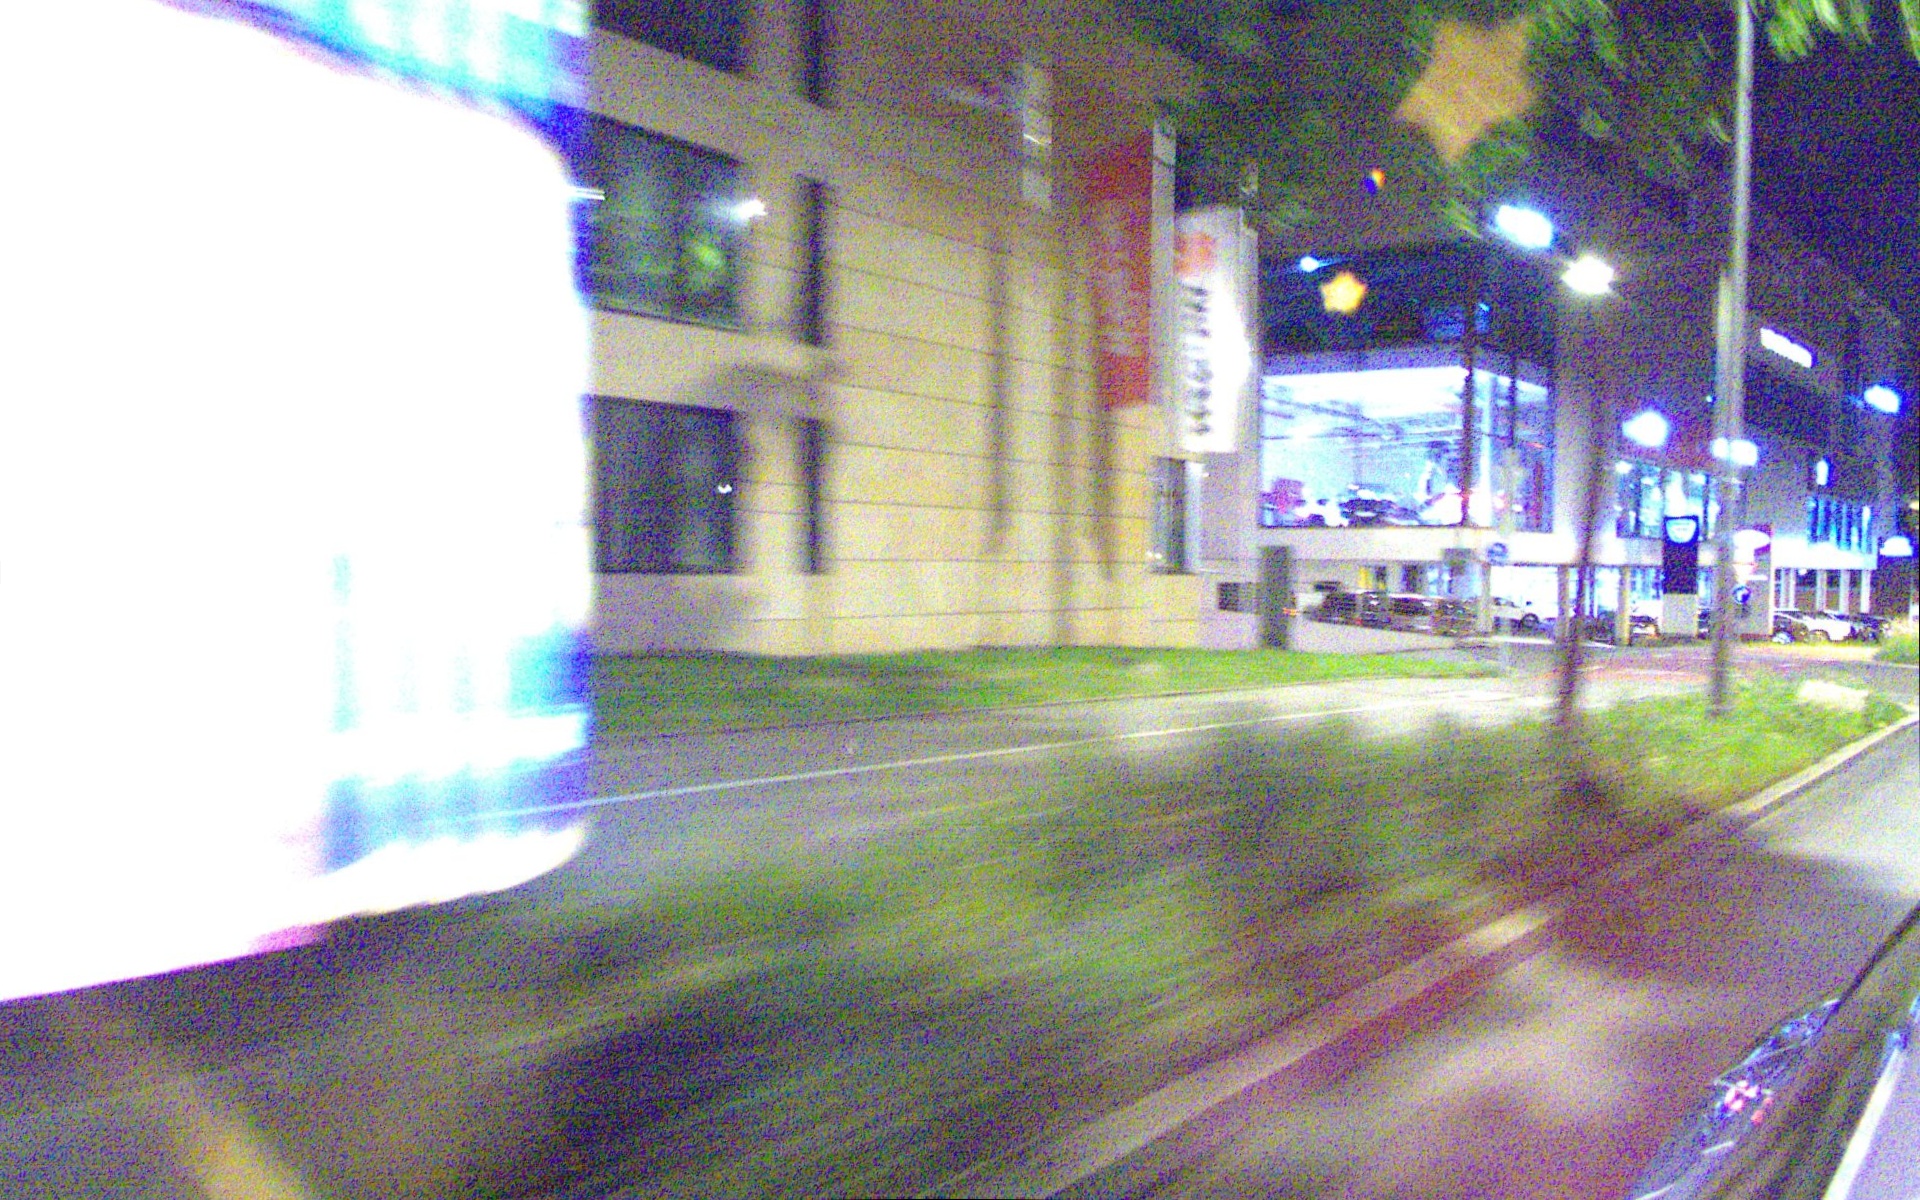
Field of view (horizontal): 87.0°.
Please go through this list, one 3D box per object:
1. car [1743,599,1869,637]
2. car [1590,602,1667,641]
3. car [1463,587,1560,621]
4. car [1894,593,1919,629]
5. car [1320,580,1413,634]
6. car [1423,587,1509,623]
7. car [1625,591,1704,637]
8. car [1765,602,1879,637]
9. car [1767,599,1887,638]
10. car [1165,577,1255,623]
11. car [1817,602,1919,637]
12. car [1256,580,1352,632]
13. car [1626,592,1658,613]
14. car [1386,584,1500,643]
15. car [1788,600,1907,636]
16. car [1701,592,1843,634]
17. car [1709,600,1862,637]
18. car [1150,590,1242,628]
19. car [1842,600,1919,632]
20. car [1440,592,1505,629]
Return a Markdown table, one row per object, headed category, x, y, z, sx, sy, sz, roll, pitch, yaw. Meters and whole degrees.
| category | x | y | z | sx | sy | sz | roll | pitch | yaw |
| --- | --- | --- | --- | --- | --- | --- | --- | --- | --- |
| car | 36.417 | 0.754 | 43.715 | 3.976 | 1.442 | 1.884 | 2 | 0 | 36 |
| car | 29.246 | 0.916 | 44.410 | 1.755 | 1.426 | 4.314 | 2 | 2 | 19 |
| car | 29.431 | 0.222 | 54.157 | 4.262 | 1.675 | 1.649 | 1 | 0 | 17 |
| car | 72.660 | 1.107 | 73.947 | 6.008 | 2.559 | 2.253 | 9 | 4 | 37 |
| car | 16.174 | 0.283 | 40.180 | 4.335 | 2.019 | 1.813 | 1 | 0 | -44 |
| car | 25.730 | 0.214 | 51.540 | 1.716 | 1.604 | 3.491 | -1 | 4 | -36 |
| car | 32.619 | 0.602 | 46.954 | 1.564 | 1.817 | 3.857 | 1 | 3 | 12 |
| car | 38.432 | 0.843 | 45.203 | 3.583 | 1.451 | 1.662 | 2 | 0 | 30 |
| car | 40.308 | 0.836 | 47.170 | 3.975 | 1.488 | 1.810 | 5 | 2 | 34 |
| car | 11.658 | -0.033 | 47.236 | 3.705 | 2.039 | 1.720 | 2 | 0 | 44 |
| car | 47.064 | 0.986 | 52.313 | 4.017 | 1.390 | 1.801 | 7 | 4 | 38 |
| car | 14.209 | 0.233 | 41.668 | 4.335 | 2.019 | 1.953 | 1 | 0 | -44 |
| car | 59.060 | 0.211 | 87.657 | 1.984 | 1.682 | 4.617 | 2 | 1 | 31 |
| car | 18.300 | 0.504 | 38.190 | 5.532 | 2.039 | 1.996 | 1 | 0 | -43 |
| car | 42.616 | 0.856 | 48.702 | 3.970 | 1.409 | 1.806 | 4 | 1 | 32 |
| car | 30.677 | 0.459 | 38.342 | 4.116 | 1.438 | 1.850 | 1 | 0 | 40 |
| car | 34.252 | 0.755 | 42.151 | 4.603 | 1.280 | 1.927 | 2 | 0 | 29 |
| car | 10.493 | 0.355 | 45.163 | 1.589 | 1.467 | 3.729 | -1 | 3 | -41 |
| car | 50.694 | 0.882 | 55.146 | 3.799 | 1.470 | 1.692 | 6 | 3 | 40 |
| car | 24.237 | 0.470 | 47.829 | 3.359 | 1.531 | 1.635 | -2 | 4 | -43 |
